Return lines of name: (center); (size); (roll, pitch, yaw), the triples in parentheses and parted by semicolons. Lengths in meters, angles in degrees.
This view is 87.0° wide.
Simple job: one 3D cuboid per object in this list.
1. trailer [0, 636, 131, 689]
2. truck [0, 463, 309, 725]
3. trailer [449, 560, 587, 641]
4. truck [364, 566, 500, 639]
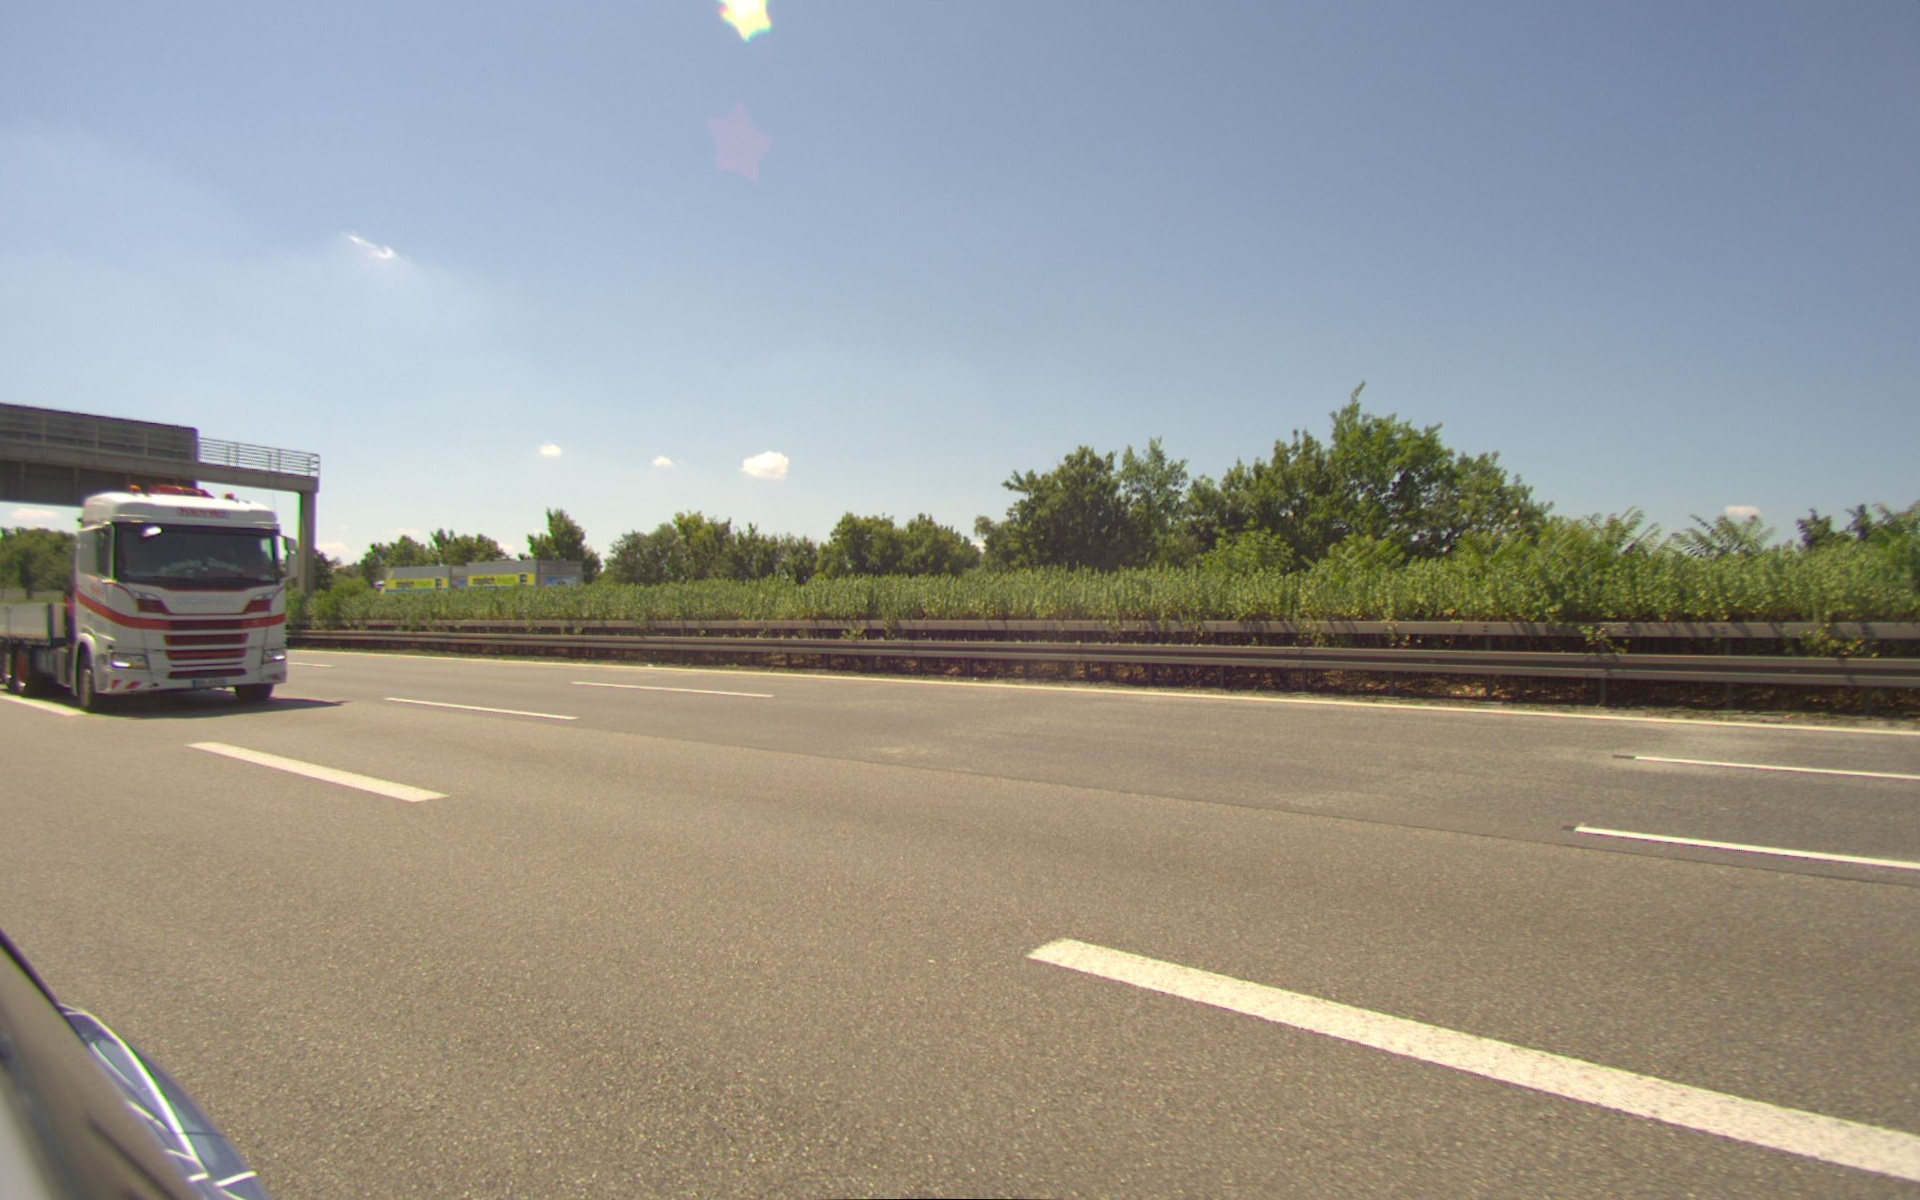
trailer: (-23.129, 1.460, 24.820); (7.748, 0.941, 2.689); (-1, 0, 38)
truck: (-15.929, -0.049, 19.164); (10.656, 3.831, 2.689); (-1, 0, 38)
trailer: (-23.594, 0.064, 53.765); (8.644, 3.997, 2.896); (-1, 0, 37)
truck: (-31.192, 0.177, 59.525); (10.304, 3.997, 2.974); (-1, 0, 37)
